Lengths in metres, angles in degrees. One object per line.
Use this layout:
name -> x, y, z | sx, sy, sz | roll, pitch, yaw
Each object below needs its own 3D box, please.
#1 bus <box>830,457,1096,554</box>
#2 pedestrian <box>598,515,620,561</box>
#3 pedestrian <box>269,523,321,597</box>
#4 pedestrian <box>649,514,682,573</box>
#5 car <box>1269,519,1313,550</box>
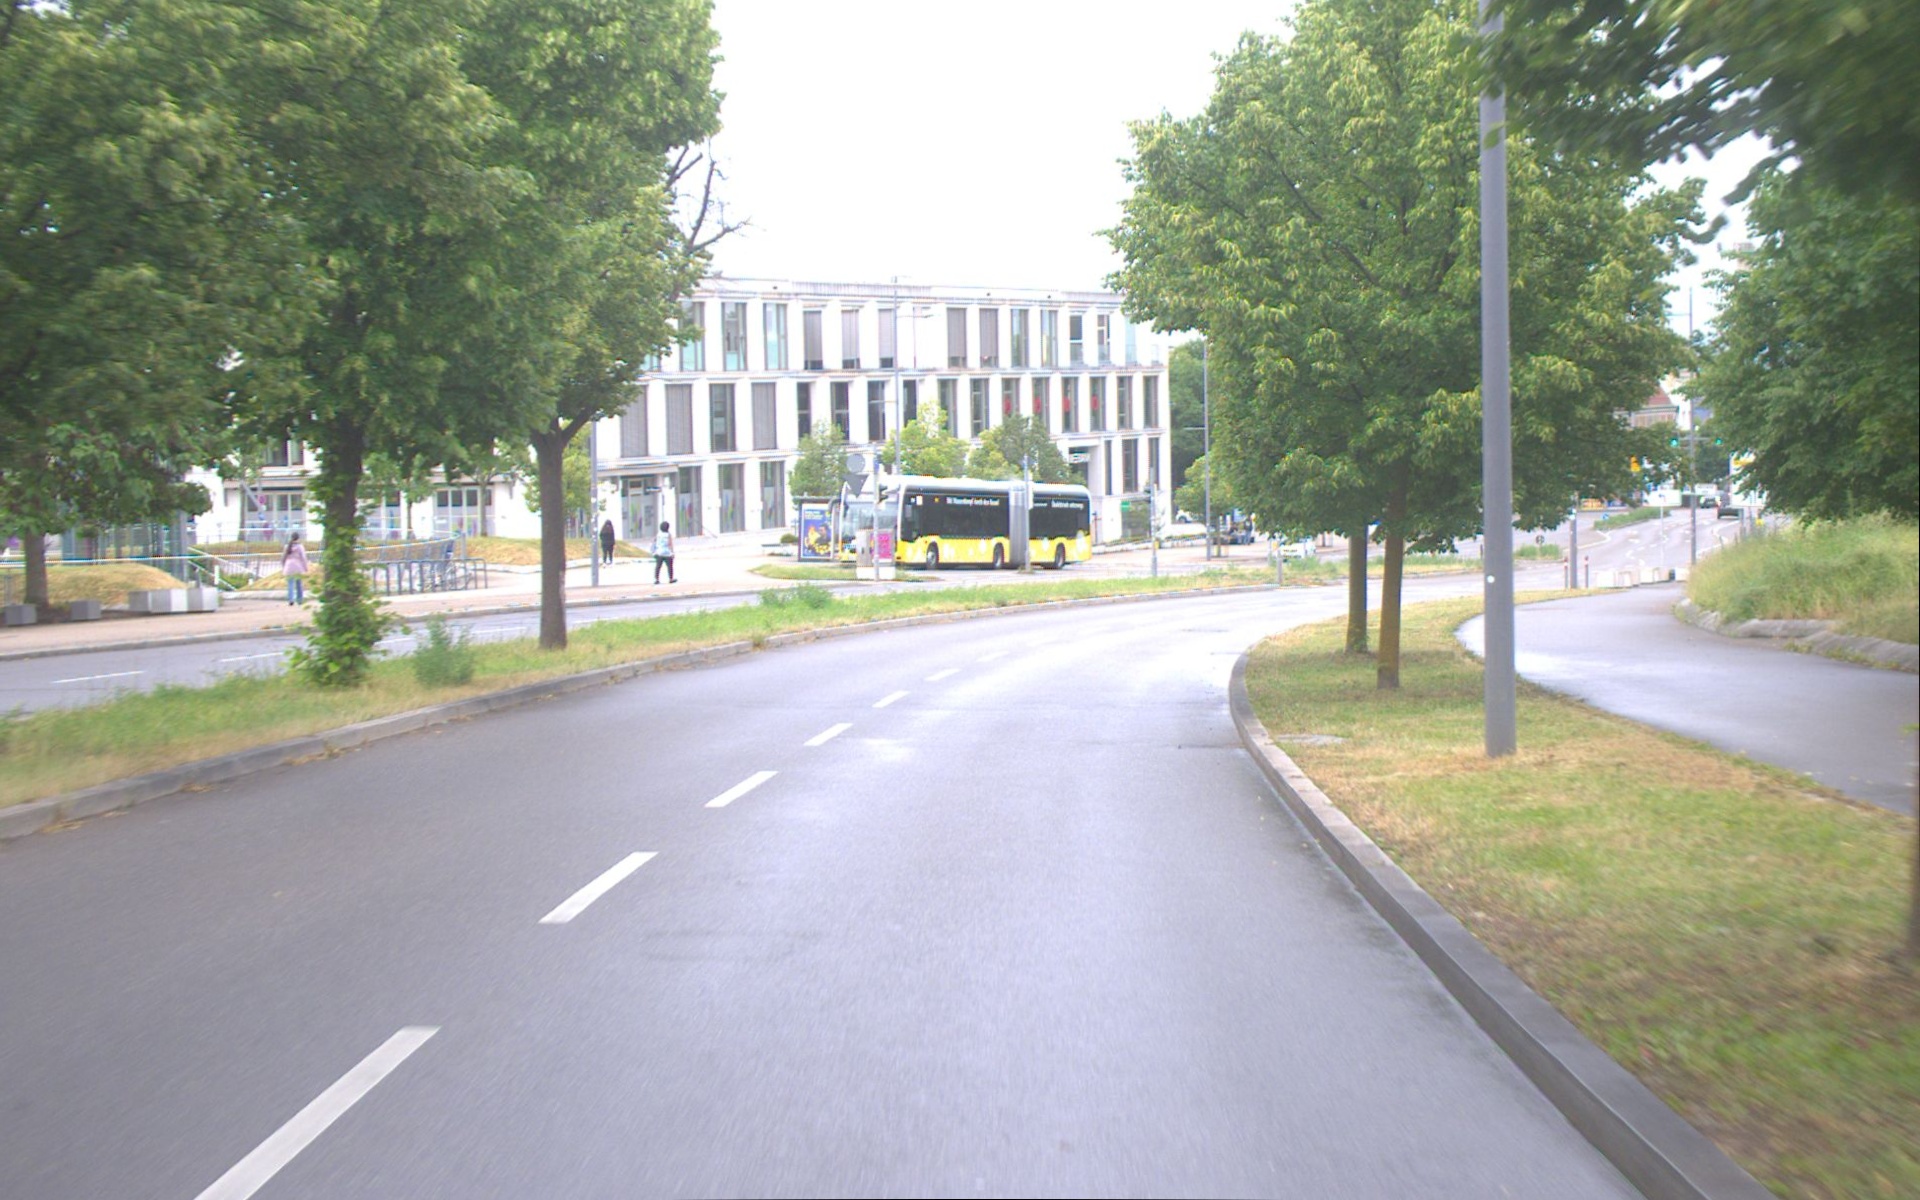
bus -> 0.406, -3.459, 130.411 | 2.788, 3.345, 18.203 | 0, 0, 24
pedestrian -> -11.827, -2.085, 115.877 | 0.682, 1.519, 0.719 | 0, 0, -1
pedestrian -> -14.596, -0.879, 75.481 | 0.814, 1.615, 0.935 | 0, 0, 10
pedestrian -> -7.951, -1.526, 92.852 | 0.834, 1.568, 0.719 | 0, 0, -7
car -> 16.365, -3.214, 169.818 | 1.480, 1.489, 2.527 | 0, 0, 23
